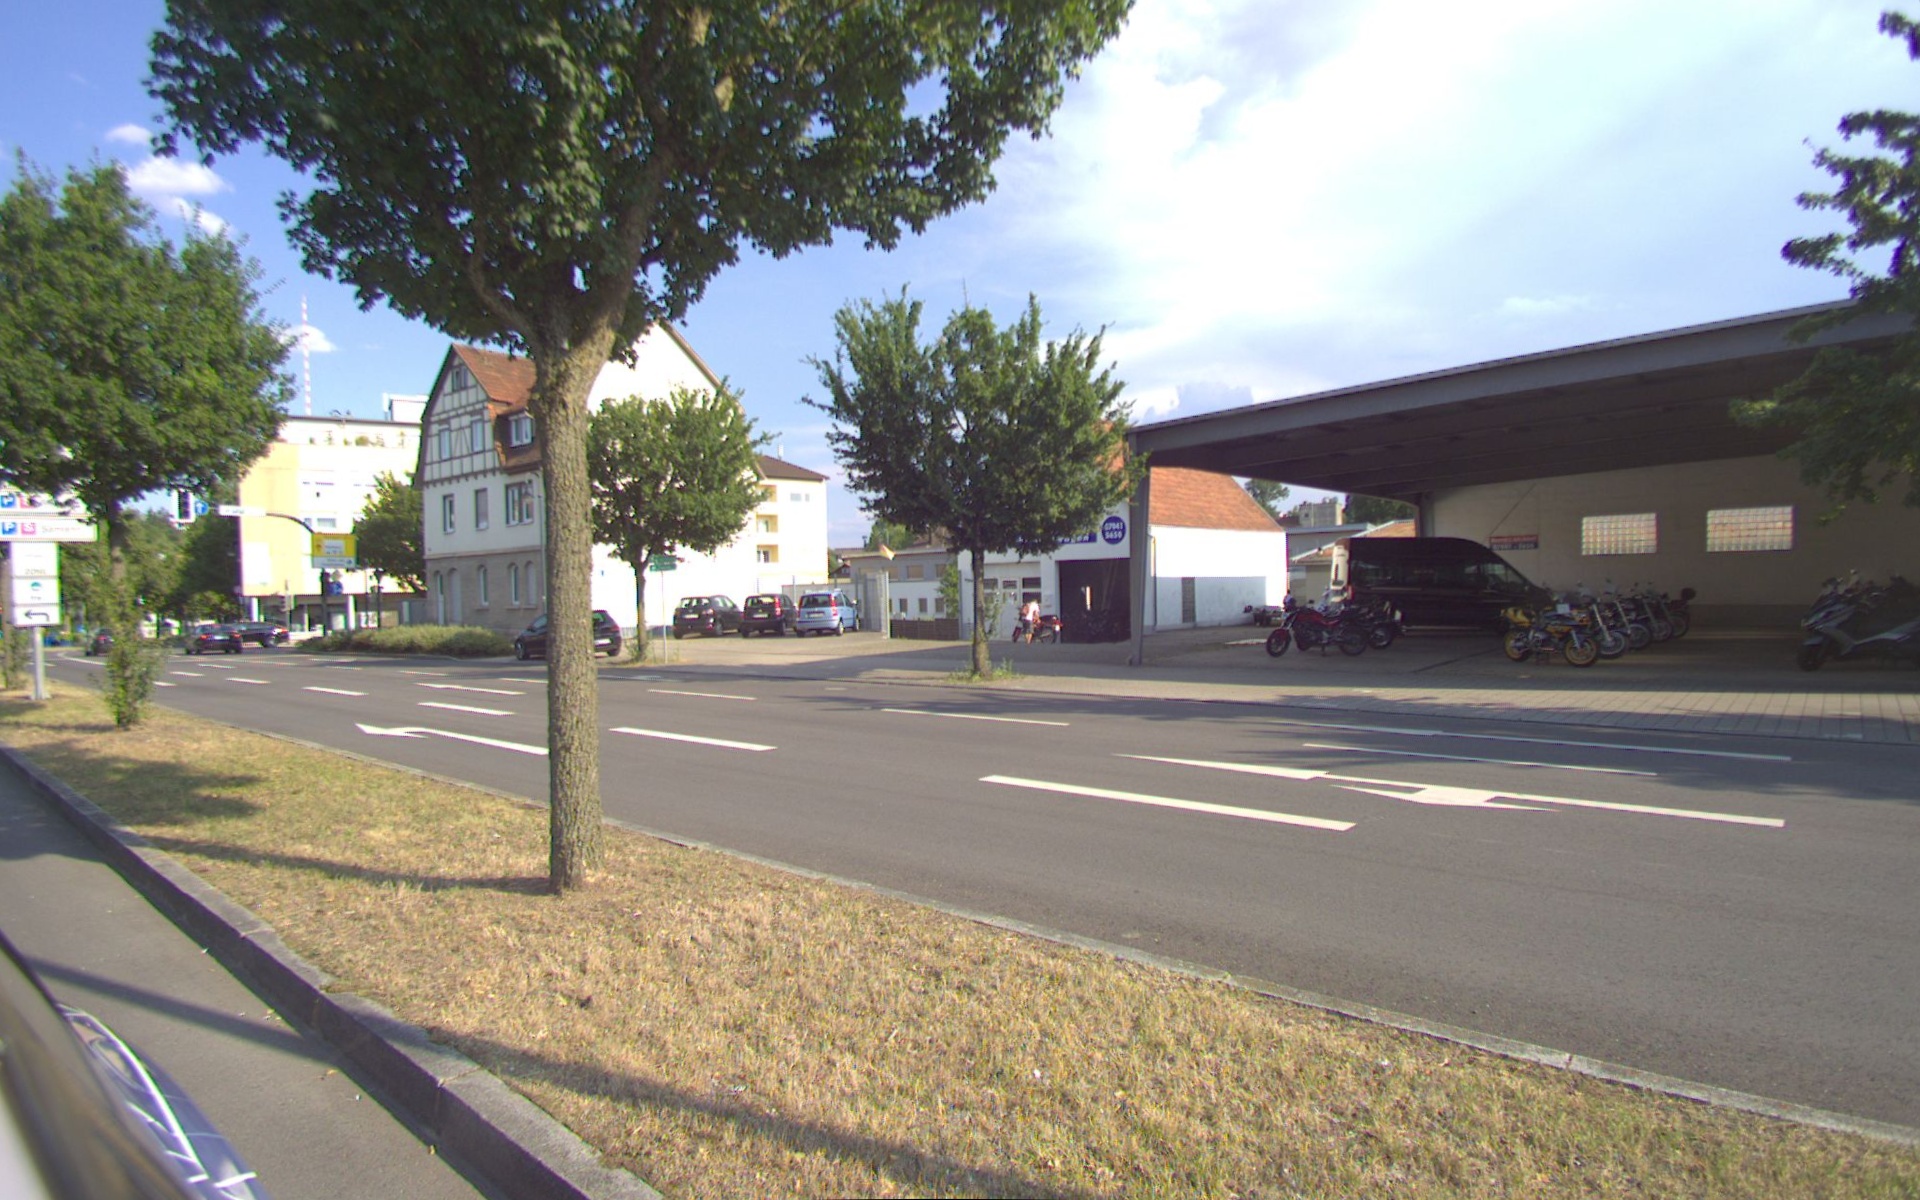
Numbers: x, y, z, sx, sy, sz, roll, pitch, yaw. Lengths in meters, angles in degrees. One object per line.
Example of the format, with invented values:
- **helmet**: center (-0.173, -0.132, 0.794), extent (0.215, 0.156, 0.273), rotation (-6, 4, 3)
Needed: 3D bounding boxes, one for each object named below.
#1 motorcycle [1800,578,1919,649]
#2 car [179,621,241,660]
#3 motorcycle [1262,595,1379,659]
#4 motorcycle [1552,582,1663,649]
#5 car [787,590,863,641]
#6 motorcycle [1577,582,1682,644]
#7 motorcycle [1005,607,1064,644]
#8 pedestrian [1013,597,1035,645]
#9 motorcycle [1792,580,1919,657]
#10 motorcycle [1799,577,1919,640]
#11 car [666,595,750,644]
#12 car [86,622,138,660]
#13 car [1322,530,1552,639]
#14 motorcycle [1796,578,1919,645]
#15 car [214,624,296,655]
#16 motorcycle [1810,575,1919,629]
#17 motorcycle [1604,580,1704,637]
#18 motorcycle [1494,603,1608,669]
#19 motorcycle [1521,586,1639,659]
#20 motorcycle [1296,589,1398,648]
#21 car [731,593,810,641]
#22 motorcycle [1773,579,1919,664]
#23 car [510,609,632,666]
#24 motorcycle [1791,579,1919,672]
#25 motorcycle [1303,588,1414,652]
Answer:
- **motorcycle**: center (18.052, 0.264, 19.988), extent (2.103, 1.306, 0.628), rotation (-3, -1, 17)
- **car**: center (-35.444, 1.886, 47.778), extent (4.002, 1.706, 1.757), rotation (-1, 0, 45)
- **motorcycle**: center (7.504, 0.556, 21.160), extent (2.202, 1.290, 0.629), rotation (-1, 0, 11)
- **motorcycle**: center (13.871, 0.319, 21.769), extent (0.621, 1.347, 2.269), rotation (-1, 0, -9)
- **car**: center (-4.675, 0.514, 35.677), extent (1.797, 1.512, 3.819), rotation (-3, 2, 5)
- **motorcycle**: center (15.544, 0.296, 23.579), extent (0.621, 1.347, 2.269), rotation (-1, 0, -9)
- **motorcycle**: center (2.441, 0.833, 33.210), extent (1.974, 1.194, 0.577), rotation (-1, 0, 41)
- **pedestrian**: center (2.079, 0.669, 32.764), extent (0.485, 1.530, 0.496), rotation (-1, 0, 41)
- **motorcycle**: center (16.538, 0.335, 18.348), extent (2.103, 1.306, 0.628), rotation (-3, -1, 17)
- **motorcycle**: center (20.236, 0.201, 22.644), extent (2.103, 1.306, 0.628), rotation (-3, -1, 17)
- **car**: center (-9.315, 0.684, 37.699), extent (1.797, 1.512, 3.819), rotation (-3, 2, 5)
- **car**: center (-41.037, 1.959, 48.958), extent (1.756, 1.706, 4.004), rotation (-1, 0, -43)
- **car**: center (12.873, -0.384, 27.628), extent (5.221, 2.773, 1.996), rotation (-1, 0, 7)
- **motorcycle**: center (19.042, 0.251, 21.289), extent (2.103, 1.306, 0.628), rotation (-3, -1, 17)
- **car**: center (-41.920, 2.339, 60.209), extent (3.935, 1.687, 1.791), rotation (-1, 0, -38)
- **motorcycle**: center (23.741, 0.067, 26.521), extent (2.103, 1.306, 0.628), rotation (-3, -1, 17)
- **motorcycle**: center (17.298, 0.214, 25.303), extent (0.621, 1.347, 2.269), rotation (-1, 0, -9)
- **motorcycle**: center (10.538, 0.614, 18.151), extent (0.621, 1.095, 2.038), rotation (-1, 0, -7)
- **motorcycle**: center (12.166, 0.432, 19.956), extent (0.621, 1.347, 2.269), rotation (-1, 0, -9)
- **motorcycle**: center (9.386, 0.447, 24.607), extent (2.198, 1.372, 0.630), rotation (-1, 0, 5)
- **car**: center (-6.914, 0.579, 37.307), extent (1.797, 1.512, 3.819), rotation (-3, 2, 5)
- **motorcycle**: center (14.920, 0.356, 16.776), extent (2.103, 1.306, 0.628), rotation (-3, -1, 17)
- **car**: center (-11.593, 1.075, 30.076), extent (3.823, 1.462, 1.795), rotation (-1, 2, 42)
- **motorcycle**: center (13.868, 0.371, 15.116), extent (2.103, 1.306, 0.628), rotation (-3, -1, 17)
- **motorcycle**: center (8.964, 0.445, 22.804), extent (2.198, 1.372, 0.630), rotation (-1, 0, 5)
